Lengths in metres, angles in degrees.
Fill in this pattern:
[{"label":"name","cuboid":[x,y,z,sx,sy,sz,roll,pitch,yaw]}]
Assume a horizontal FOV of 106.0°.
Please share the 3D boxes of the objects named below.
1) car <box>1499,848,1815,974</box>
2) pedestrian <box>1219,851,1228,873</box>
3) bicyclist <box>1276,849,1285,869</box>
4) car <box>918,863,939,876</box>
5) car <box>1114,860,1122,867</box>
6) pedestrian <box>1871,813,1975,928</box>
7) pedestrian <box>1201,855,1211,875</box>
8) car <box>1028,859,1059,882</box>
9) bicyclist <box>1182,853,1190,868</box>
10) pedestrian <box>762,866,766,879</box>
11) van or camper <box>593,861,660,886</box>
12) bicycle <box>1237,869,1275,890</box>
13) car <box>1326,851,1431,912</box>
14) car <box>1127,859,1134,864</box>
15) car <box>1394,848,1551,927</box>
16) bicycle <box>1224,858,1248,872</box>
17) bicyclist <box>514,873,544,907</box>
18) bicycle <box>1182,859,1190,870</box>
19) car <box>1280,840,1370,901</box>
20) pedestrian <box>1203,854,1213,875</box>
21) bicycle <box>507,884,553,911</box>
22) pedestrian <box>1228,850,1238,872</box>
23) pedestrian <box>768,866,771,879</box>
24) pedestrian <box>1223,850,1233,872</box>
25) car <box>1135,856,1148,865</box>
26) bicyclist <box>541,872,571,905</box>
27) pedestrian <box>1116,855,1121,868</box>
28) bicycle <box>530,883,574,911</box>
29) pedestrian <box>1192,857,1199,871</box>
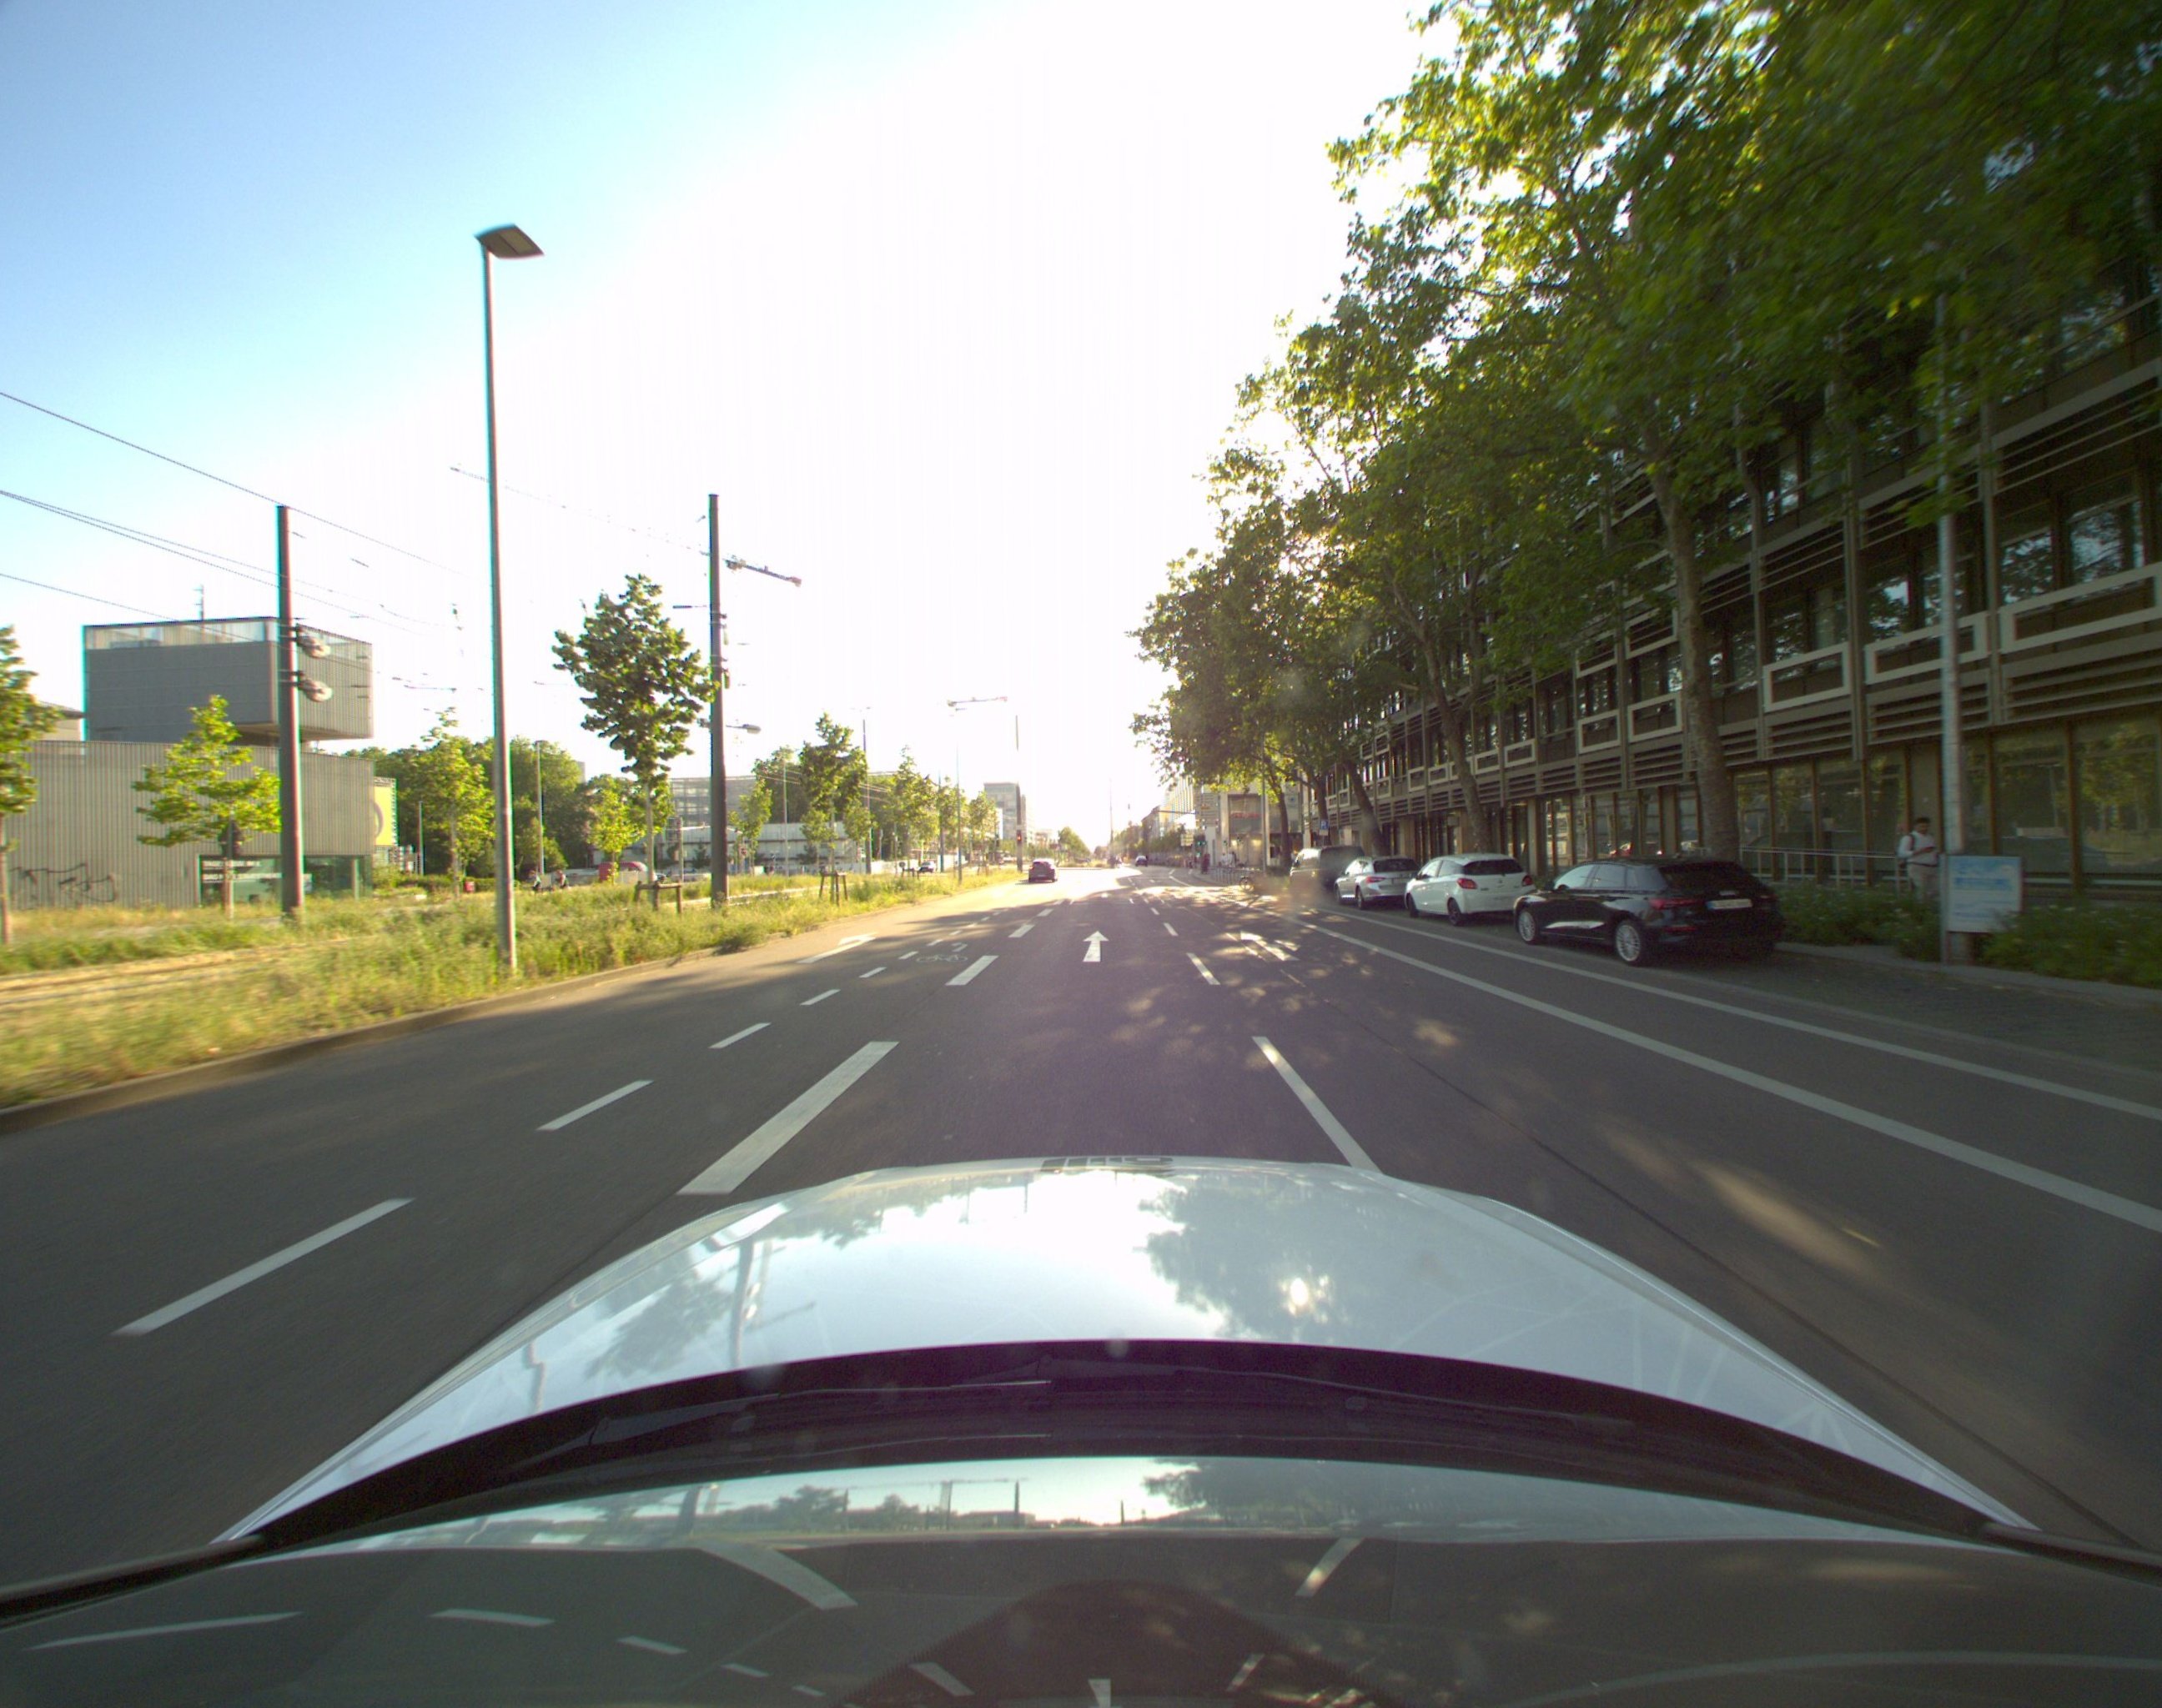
[{"label":"car","cuboid":[8.101,0.698,12.039,1.700,1.418,4.279,-4,0,2]},{"label":"pedestrian","cuboid":[13.828,0.760,79.025,0.762,2.060,0.799,-3,0,8]},{"label":"bicyclist","cuboid":[15.579,0.378,63.645,0.576,1.522,0.750,-1,0,2]},{"label":"car","cuboid":[-21.798,2.170,116.481,1.986,1.776,4.001,-1,0,1]},{"label":"car","cuboid":[8.975,2.298,199.638,1.753,1.485,3.849,-2,0,0]},{"label":"pedestrian","cuboid":[14.151,0.273,13.717,0.828,1.856,0.847,-1,-1,1]},{"label":"pedestrian","cuboid":[10.306,0.882,67.207,0.631,1.608,0.570,-3,0,2]},{"label":"car","cuboid":[-2.386,1.027,52.457,1.771,1.428,3.999,0,0,0]},{"label":"bicyclist","cuboid":[11.202,0.693,86.847,0.796,1.602,0.786,-1,0,6]},{"label":"pedestrian","cuboid":[-36.522,2.153,93.813,0.274,1.465,0.278,-1,-1,-14]},{"label":"van or camper","cuboid":[-47.207,1.993,84.657,5.636,2.414,2.157,-2,0,3]},{"label":"bicycle","cuboid":[8.198,1.201,38.292,1.681,0.867,0.574,-3,-1,10]},{"label":"car","cuboid":[8.643,0.721,24.127,1.673,1.514,5.067,-4,0,6]},{"label":"car","cuboid":[14.282,2.053,233.676,1.698,1.428,3.925,-2,0,0]},{"label":"car","cuboid":[8.522,0.673,18.109,1.675,1.478,3.876,-4,0,2]},{"label":"bicycle","cuboid":[12.673,0.878,66.663,1.796,1.086,0.479,-3,0,3]},{"label":"bicyclist","cuboid":[-24.319,1.557,35.894,0.581,1.442,1.076,-1,0,2]},{"label":"bicycle","cuboid":[11.185,1.111,86.640,0.795,1.204,2.268,-1,0,6]},{"label":"car","cuboid":[8.942,0.567,30.321,1.822,1.971,5.324,-4,0,2]},{"label":"pedestrian","cuboid":[10.573,0.856,67.808,0.631,1.703,0.570,-3,-1,2]},{"label":"bicycle","cuboid":[-24.319,1.905,35.967,0.581,1.105,1.989,-1,0,2]},{"label":"pedestrian","cuboid":[12.240,0.549,65.656,0.631,1.703,0.570,-3,-1,2]},{"label":"pedestrian","cuboid":[-35.916,2.162,94.010,0.275,1.465,0.313,-1,-1,-27]},{"label":"pedestrian","cuboid":[14.115,0.682,78.076,0.762,2.060,0.799,-3,0,8]},{"label":"car","cuboid":[10.487,1.066,141.184,1.934,1.428,3.925,-2,0,0]},{"label":"bicyclist","cuboid":[-23.363,1.520,36.256,0.581,1.442,1.076,-1,0,2]},{"label":"pedestrian","cuboid":[4.771,0.972,104.354,0.492,1.743,0.446,-1,0,-8]},{"label":"bicycle","cuboid":[-23.368,1.883,36.016,0.581,1.105,1.989,-1,0,2]},{"label":"pedestrian","cuboid":[14.710,1.249,104.983,0.813,1.734,0.791,-2,0,5]}]
